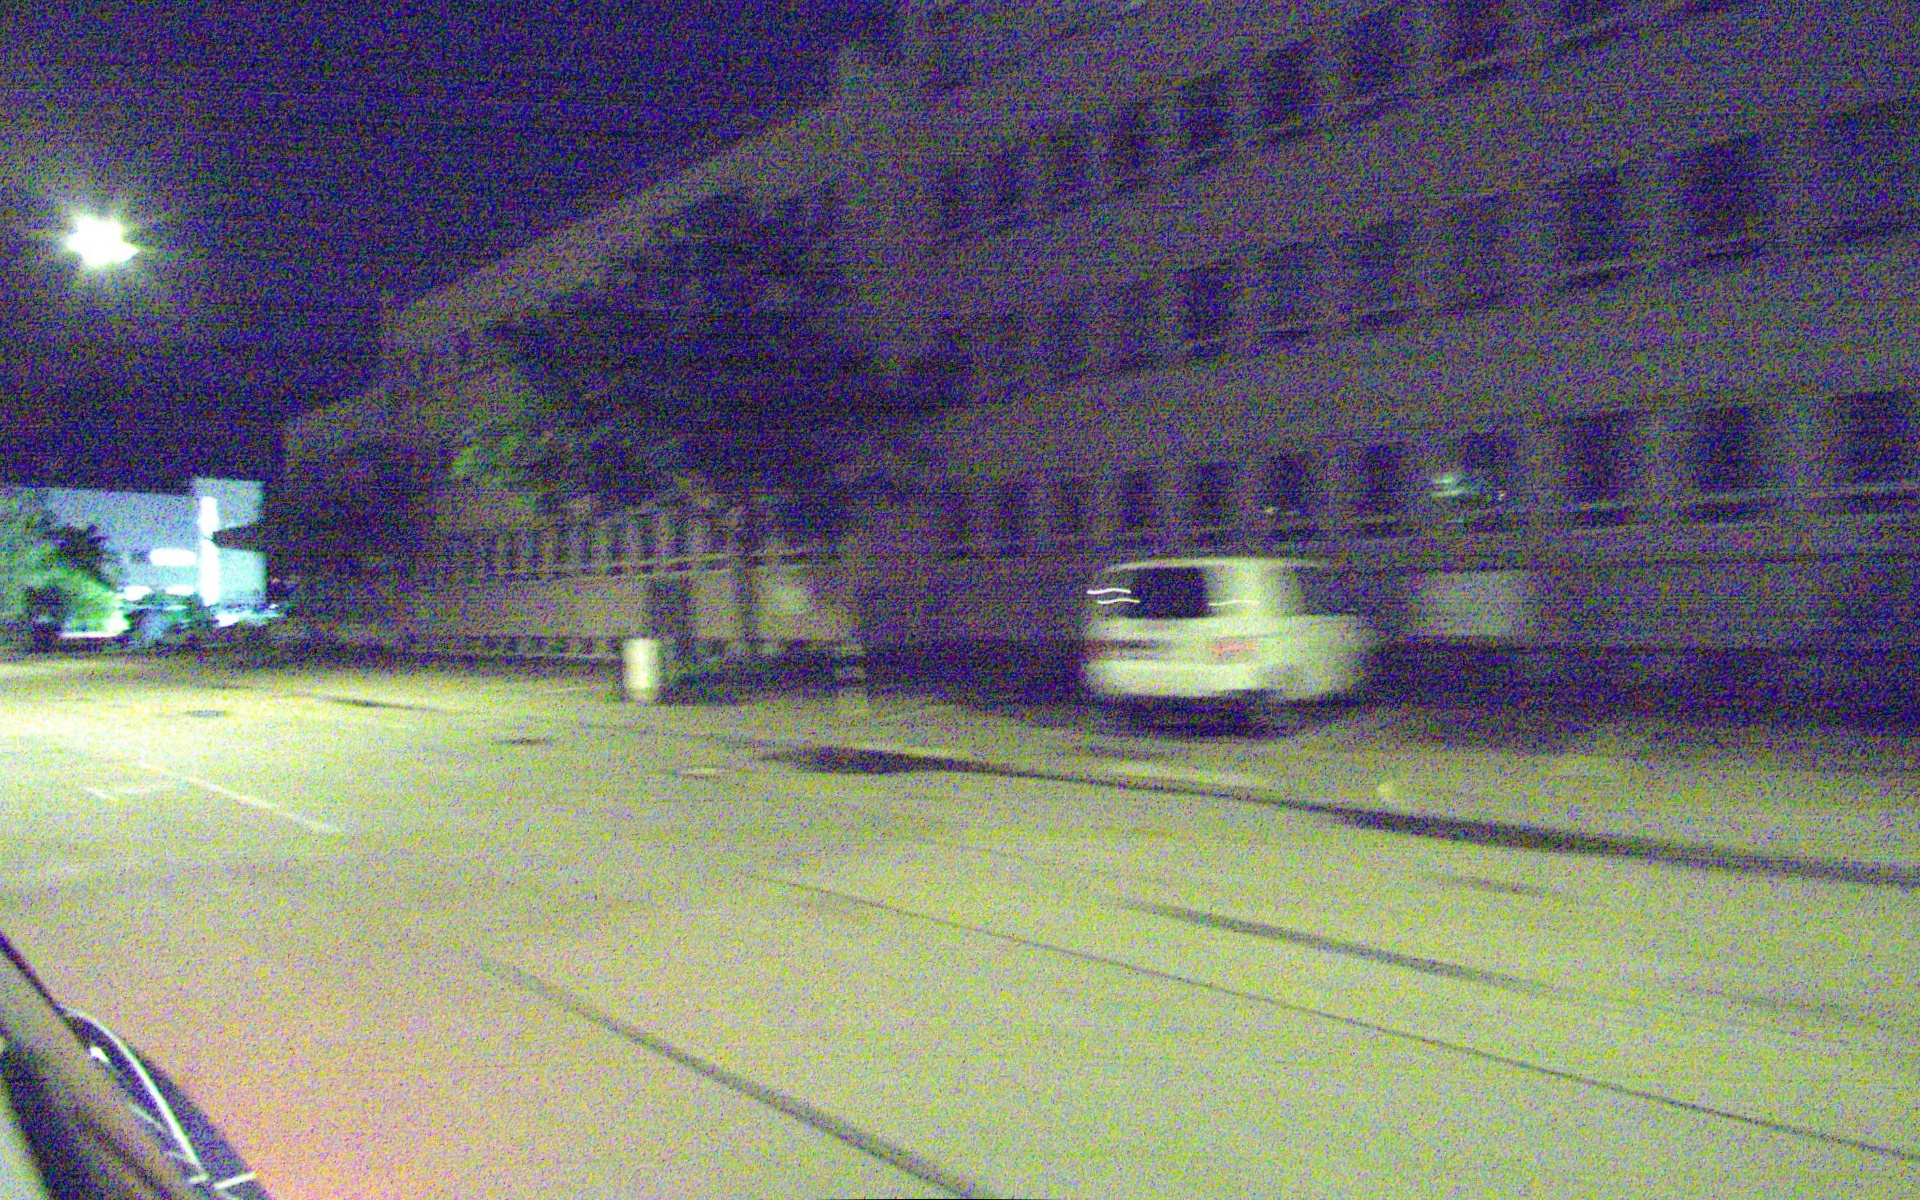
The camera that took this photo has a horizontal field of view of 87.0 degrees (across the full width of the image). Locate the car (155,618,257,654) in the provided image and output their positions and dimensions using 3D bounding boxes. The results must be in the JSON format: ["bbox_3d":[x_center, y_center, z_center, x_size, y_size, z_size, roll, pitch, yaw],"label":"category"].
[{"bbox_3d":[-40.293,1.885,54.137,1.803,1.474,3.953,-1,4,36],"label":"car"}]

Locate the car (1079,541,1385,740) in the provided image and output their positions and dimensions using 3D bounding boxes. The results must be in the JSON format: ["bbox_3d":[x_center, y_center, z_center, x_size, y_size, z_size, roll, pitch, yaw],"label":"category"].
[{"bbox_3d":[3.502,0.324,12.415,1.998,1.986,4.389,-1,2,39],"label":"car"}]
